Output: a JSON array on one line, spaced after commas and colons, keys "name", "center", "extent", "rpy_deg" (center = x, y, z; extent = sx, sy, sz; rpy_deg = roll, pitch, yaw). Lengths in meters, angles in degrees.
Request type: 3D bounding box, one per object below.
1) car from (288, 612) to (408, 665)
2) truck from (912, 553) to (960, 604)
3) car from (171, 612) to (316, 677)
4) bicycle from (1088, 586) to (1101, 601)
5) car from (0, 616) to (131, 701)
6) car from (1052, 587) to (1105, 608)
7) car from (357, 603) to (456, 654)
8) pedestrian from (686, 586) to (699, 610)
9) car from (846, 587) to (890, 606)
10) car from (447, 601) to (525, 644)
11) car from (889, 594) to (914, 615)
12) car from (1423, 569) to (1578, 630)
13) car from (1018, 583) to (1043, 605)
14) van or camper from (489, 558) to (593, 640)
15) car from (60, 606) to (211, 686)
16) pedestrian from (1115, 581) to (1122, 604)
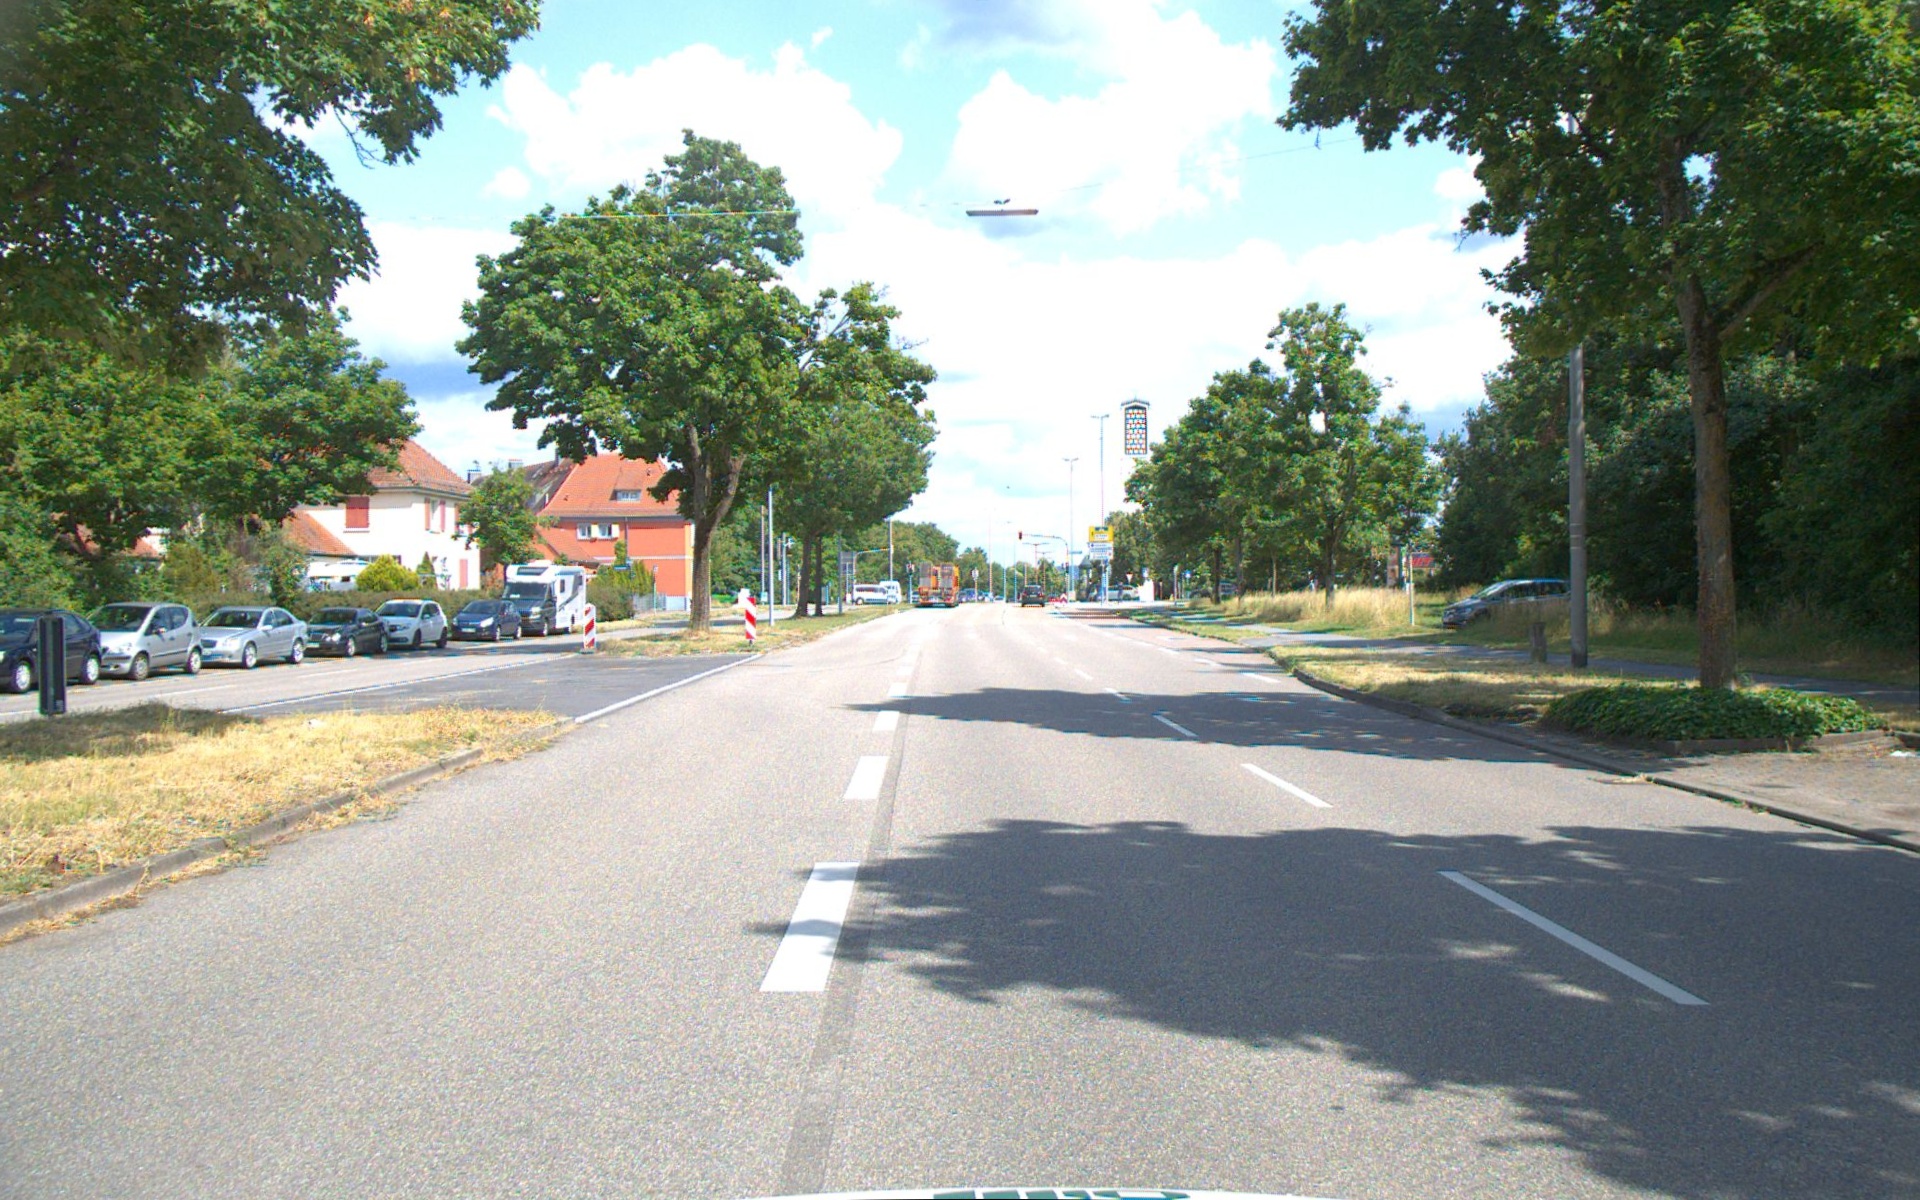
[{"name": "car", "center": [-17.443, 1.068, 47.360], "extent": [1.602, 1.329, 4.585], "rpy_deg": [1, 1, 2]}, {"name": "truck", "center": [-1.711, -1.511, 123.053], "extent": [3.007, 3.474, 11.070], "rpy_deg": [1, 0, 2]}, {"name": "car", "center": [-17.558, 1.050, 40.772], "extent": [1.479, 1.394, 4.532], "rpy_deg": [1, 1, 2]}, {"name": "bicycle", "center": [11.036, -0.525, 135.806], "extent": [0.634, 1.127, 1.929], "rpy_deg": [1, 0, 17]}, {"name": "car", "center": [-17.607, 1.056, 31.571], "extent": [1.374, 1.419, 4.356], "rpy_deg": [1, 0, 0]}, {"name": "car", "center": [8.530, -0.159, 118.957], "extent": [3.515, 1.467, 1.469], "rpy_deg": [1, 0, -17]}, {"name": "car", "center": [-17.628, 0.888, 52.870], "extent": [1.654, 1.511, 4.125], "rpy_deg": [1, 0, 2]}, {"name": "pedestrian", "center": [-18.145, -0.114, 112.095], "extent": [0.681, 1.611, 0.851], "rpy_deg": [1, -1, 1]}, {"name": "car", "center": [-8.307, -0.302, 149.937], "extent": [3.905, 1.680, 1.732], "rpy_deg": [1, 0, -1]}, {"name": "car", "center": [-17.410, 0.819, 60.915], "extent": [1.602, 1.511, 3.993], "rpy_deg": [1, 0, 2]}, {"name": "car", "center": [-4.791, 0.364, 135.567], "extent": [1.697, 1.534, 4.653], "rpy_deg": [-4, 0, 2]}, {"name": "car", "center": [16.472, -0.027, 50.464], "extent": [4.083, 1.519, 1.782], "rpy_deg": [-4, 2, -6]}, {"name": "car", "center": [5.252, -0.448, 123.676], "extent": [1.762, 1.579, 4.001], "rpy_deg": [1, 0, 2]}, {"name": "van or camper", "center": [-17.210, -0.112, 68.418], "extent": [2.212, 3.166, 7.322], "rpy_deg": [1, 1, 2]}, {"name": "car", "center": [-17.760, 0.957, 35.809], "extent": [1.374, 1.585, 3.742], "rpy_deg": [1, 0, 0]}, {"name": "pedestrian", "center": [12.748, -0.579, 133.096], "extent": [0.454, 1.810, 0.482], "rpy_deg": [1, -1, 13]}]
